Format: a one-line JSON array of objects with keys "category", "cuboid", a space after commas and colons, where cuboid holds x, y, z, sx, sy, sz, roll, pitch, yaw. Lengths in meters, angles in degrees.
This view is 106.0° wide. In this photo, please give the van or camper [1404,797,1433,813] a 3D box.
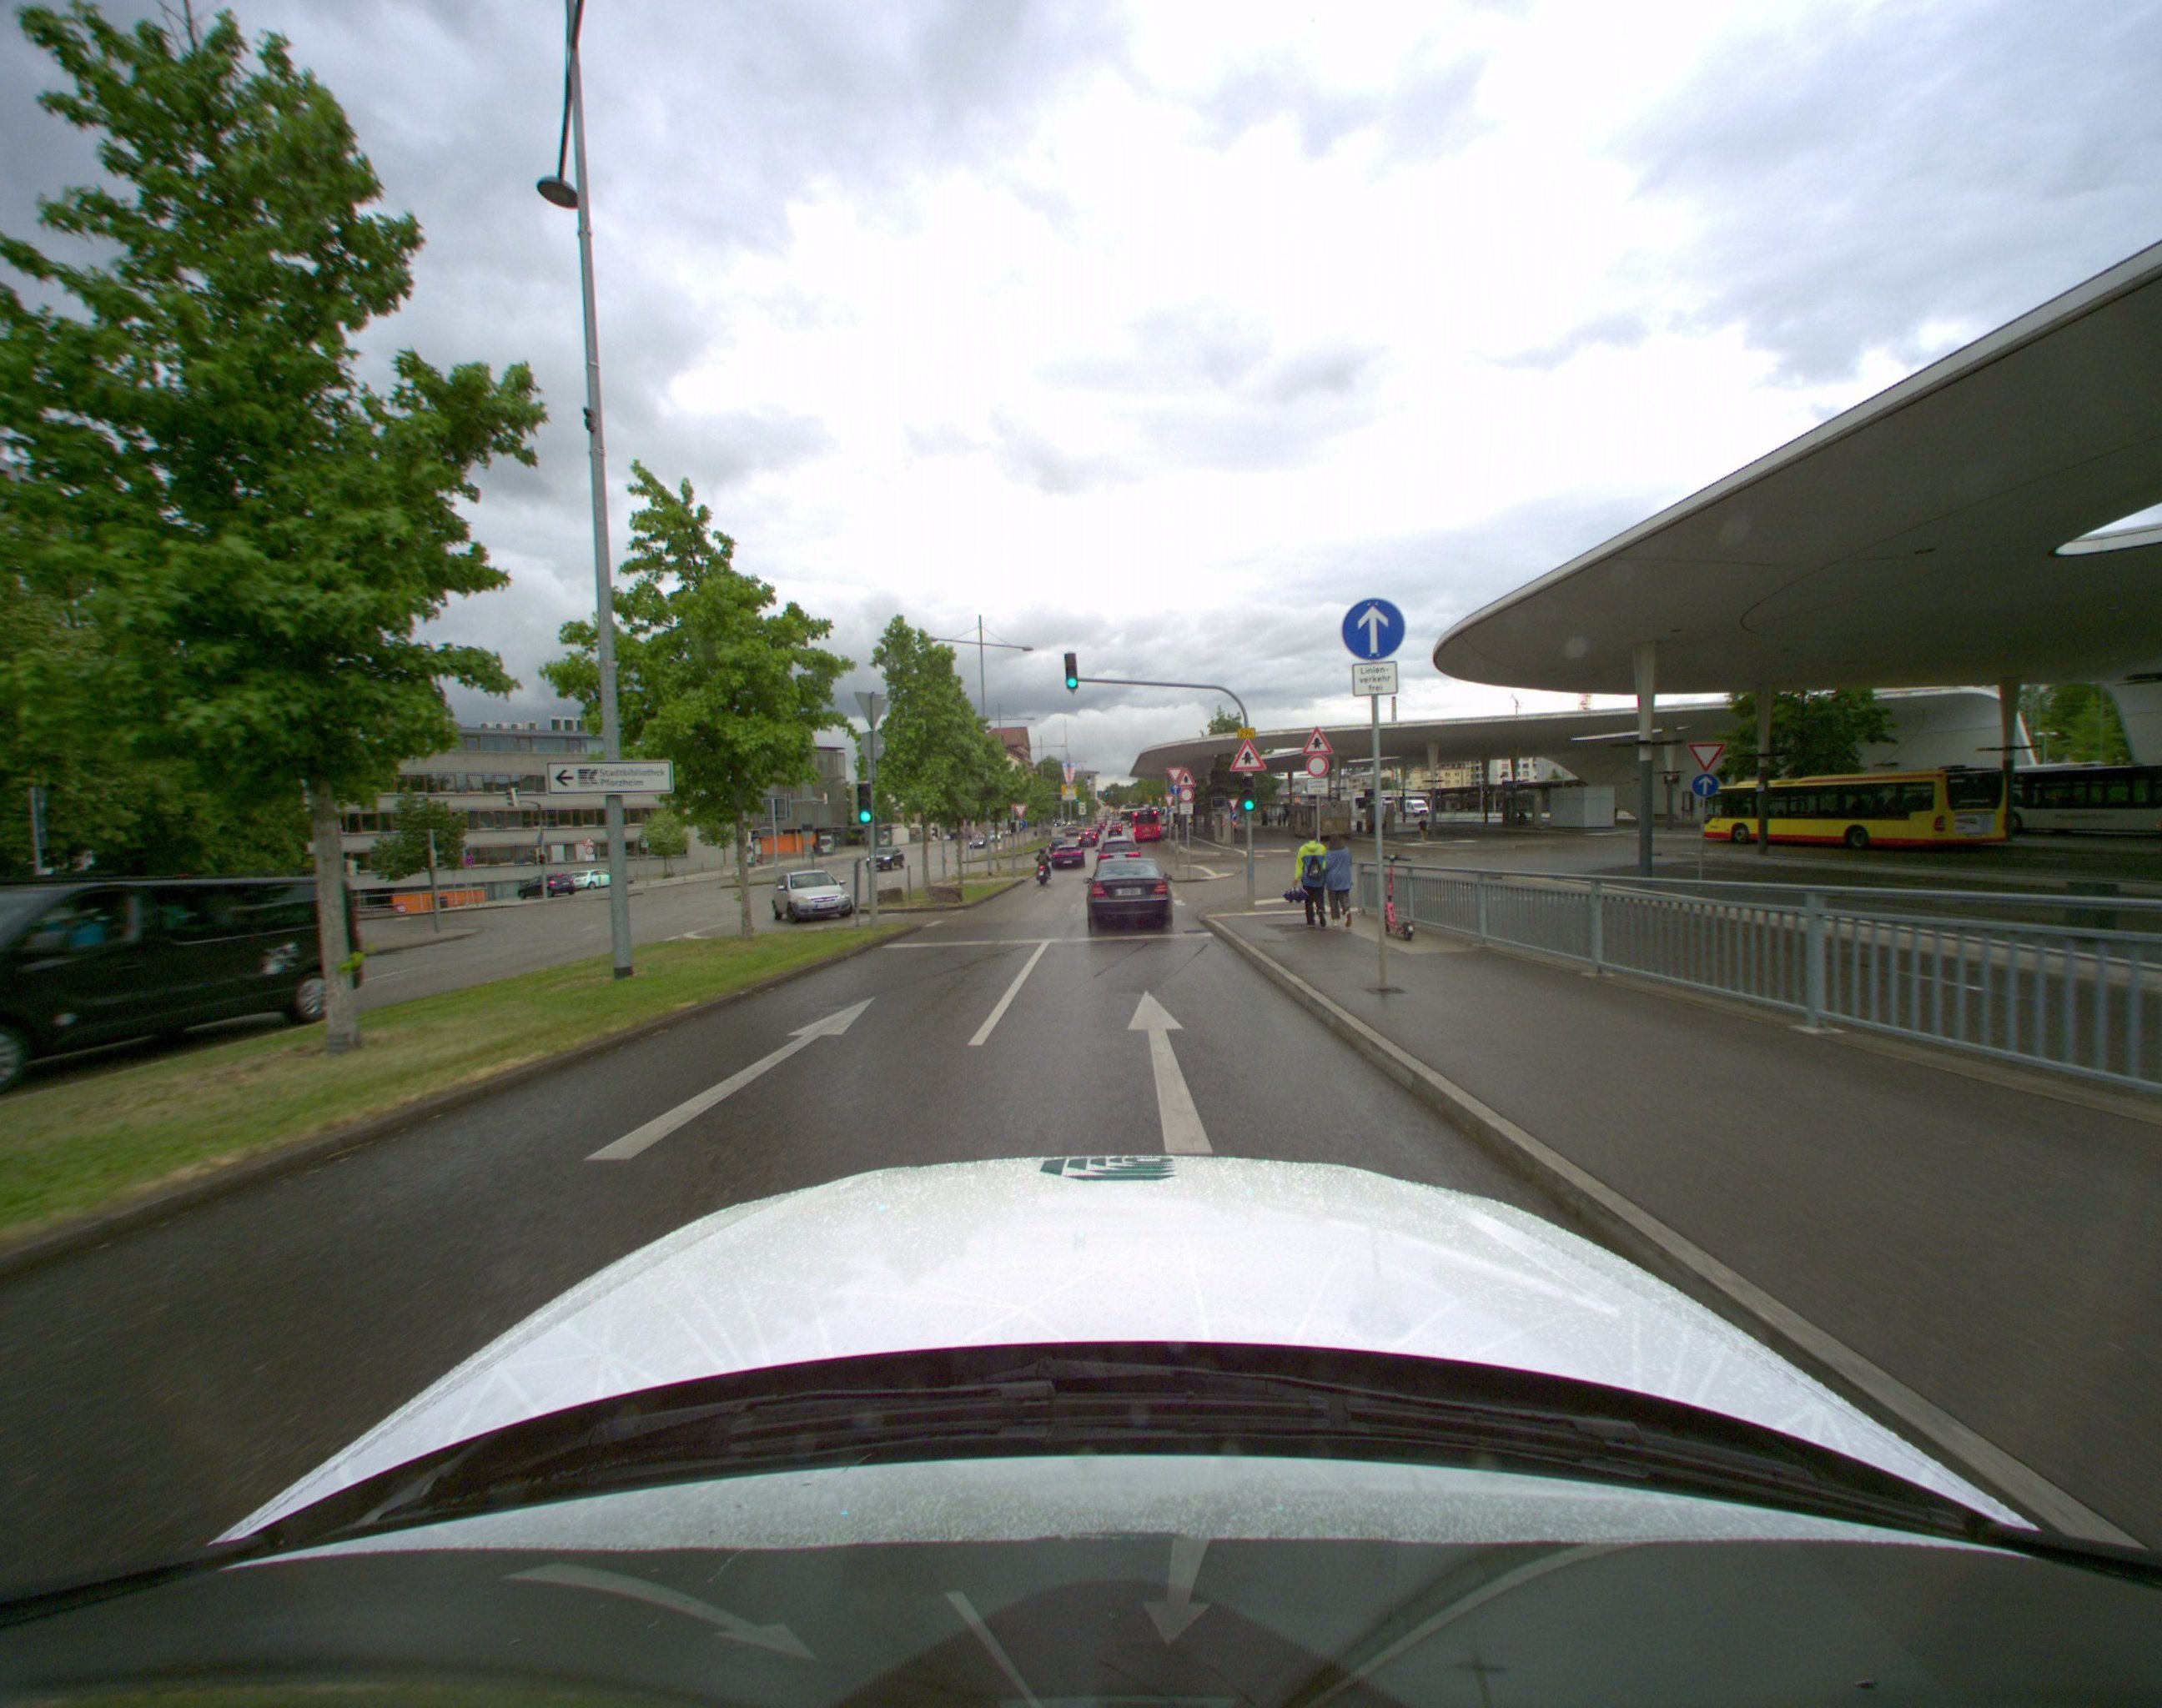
[{"category": "van or camper", "cuboid": [46.954, -6.791, 113.328, 1.986, 2.102, 5.483, 0, 1, 2]}]

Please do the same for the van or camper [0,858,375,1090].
[{"category": "van or camper", "cuboid": [-11.013, 1.180, 8.923, 2.214, 2.072, 5.272, -4, 0, -6]}]

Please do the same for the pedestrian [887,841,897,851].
[{"category": "pedestrian", "cuboid": [-25.829, -1.134, 111.226, 0.967, 1.267, 0.854, 2, 4, 23]}]

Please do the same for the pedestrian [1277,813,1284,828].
[{"category": "pedestrian", "cuboid": [22.839, -3.790, 93.305, 0.559, 1.691, 0.613, -3, 3, -5]}]

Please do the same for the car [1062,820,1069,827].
[{"category": "car", "cuboid": [-3.771, -7.436, 198.148, 1.569, 1.566, 3.433, -5, 3, 2]}]

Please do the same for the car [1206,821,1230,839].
[{"category": "car", "cuboid": [12.376, -2.224, 73.762, 1.641, 1.452, 3.239, -3, 3, 1]}]

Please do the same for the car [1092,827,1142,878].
[{"category": "car", "cuboid": [1.630, -0.152, 36.915, 1.950, 1.875, 4.878, -5, 3, 2]}]

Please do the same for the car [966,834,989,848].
[{"category": "car", "cuboid": [-12.726, -1.667, 100.335, 1.839, 1.504, 4.925, -3, 2, 3]}]

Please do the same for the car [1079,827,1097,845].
[{"category": "car", "cuboid": [0.716, -1.793, 81.317, 1.569, 1.504, 3.875, -5, 3, 3]}]

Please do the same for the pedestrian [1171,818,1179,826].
[{"category": "pedestrian", "cuboid": [12.086, -4.155, 104.836, 0.906, 0.985, 0.636, -2, -1, 16]}]

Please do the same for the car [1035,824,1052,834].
[{"category": "car", "cuboid": [-6.101, -4.048, 131.805, 1.733, 1.560, 3.743, -3, 1, -20]}]

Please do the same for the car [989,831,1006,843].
[{"category": "car", "cuboid": [-12.296, -2.525, 119.758, 1.840, 1.652, 4.423, -3, 2, 2]}]

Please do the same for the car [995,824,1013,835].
[{"category": "car", "cuboid": [-13.500, -4.292, 142.864, 1.654, 1.804, 3.601, 1, -1, -34]}]

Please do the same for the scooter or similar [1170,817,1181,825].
[{"category": "scooter or similar", "cuboid": [12.254, -4.228, 105.131, 1.233, 1.012, 0.767, -2, 2, 16]}]

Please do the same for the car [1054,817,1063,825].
[{"category": "car", "cuboid": [-5.257, -7.762, 192.565, 1.773, 1.566, 3.433, -5, 3, 2]}]

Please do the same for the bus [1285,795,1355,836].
[{"category": "bus", "cuboid": [20.056, -3.285, 69.324, 2.711, 3.043, 12.099, -4, 3, 2]}]

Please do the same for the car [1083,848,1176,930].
[{"category": "car", "cuboid": [0.984, 0.643, 17.373, 1.691, 1.462, 4.306, -2, 1, 2]}]

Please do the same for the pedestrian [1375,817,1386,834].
[{"category": "pedestrian", "cuboid": [24.441, -2.329, 66.501, 0.786, 1.377, 0.637, -3, 3, 19]}]

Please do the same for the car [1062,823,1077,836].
[{"category": "car", "cuboid": [-1.686, -3.534, 117.047, 1.864, 1.684, 3.991, 0, 0, -7]}]

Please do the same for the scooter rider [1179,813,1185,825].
[{"category": "scooter rider", "cuboid": [13.037, -4.476, 104.903, 0.587, 1.489, 0.768, -3, 2, 16]}]

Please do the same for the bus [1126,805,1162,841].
[{"category": "bus", "cuboid": [6.476, -3.359, 84.764, 3.272, 3.291, 10.890, -4, 3, 3]}]

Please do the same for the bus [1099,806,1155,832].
[{"category": "bus", "cuboid": [8.031, -6.101, 143.548, 2.861, 3.986, 11.731, -5, 3, -37]}]

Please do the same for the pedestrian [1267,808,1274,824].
[{"category": "pedestrian", "cuboid": [23.632, -4.725, 101.481, 0.716, 2.014, 0.674, 0, -1, 28]}]

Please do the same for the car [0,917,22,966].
[{"category": "car", "cuboid": [-38.372, 3.143, 26.897, 1.706, 1.567, 3.862, -1, 3, 44]}]

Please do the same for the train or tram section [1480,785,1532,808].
[{"category": "train or tram section", "cuboid": [73.690, -9.932, 141.620, 3.120, 3.658, 11.624, 1, 3, 2]}]

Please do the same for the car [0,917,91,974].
[{"category": "car", "cuboid": [-34.438, 3.003, 25.563, 1.706, 1.508, 4.081, -1, 3, 43]}]

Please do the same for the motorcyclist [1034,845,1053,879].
[{"category": "motorcyclist", "cuboid": [-1.603, 0.330, 34.705, 0.638, 1.347, 0.690, -4, 3, 5]}]

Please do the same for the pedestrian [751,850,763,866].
[{"category": "pedestrian", "cuboid": [-28.777, 0.371, 72.377, 0.676, 1.392, 0.721, -3, 2, 0]}]

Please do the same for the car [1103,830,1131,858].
[{"category": "car", "cuboid": [2.413, -0.685, 54.932, 1.734, 1.566, 3.874, -5, 3, 2]}]

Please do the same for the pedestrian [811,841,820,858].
[{"category": "pedestrian", "cuboid": [-27.725, -0.495, 84.967, 0.471, 1.683, 0.765, -3, 3, 9]}]

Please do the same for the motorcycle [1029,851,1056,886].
[{"category": "motorcycle", "cuboid": [-1.616, 0.592, 34.566, 0.789, 1.261, 1.859, -4, 3, 6]}]

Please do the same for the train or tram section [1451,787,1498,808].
[{"category": "train or tram section", "cuboid": [74.056, -10.592, 153.579, 3.120, 3.658, 12.332, 1, 3, 2]}]

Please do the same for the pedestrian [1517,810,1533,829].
[{"category": "pedestrian", "cuboid": [37.185, -2.899, 68.238, 0.793, 1.586, 0.907, -1, 2, -4]}]

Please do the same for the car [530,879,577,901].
[{"category": "car", "cuboid": [-35.902, 2.433, 55.395, 3.536, 1.350, 1.493, -1, 2, 36]}]

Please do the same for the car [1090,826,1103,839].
[{"category": "car", "cuboid": [2.207, -3.065, 117.104, 1.858, 1.684, 4.002, 0, 0, 2]}]

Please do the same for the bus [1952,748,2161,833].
[{"category": "bus", "cuboid": [43.244, -2.656, 33.482, 2.456, 3.256, 11.982, -4, 3, 2]}]

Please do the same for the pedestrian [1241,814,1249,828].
[{"category": "pedestrian", "cuboid": [18.352, -3.688, 91.204, 0.597, 1.581, 0.710, -4, 1, -7]}]

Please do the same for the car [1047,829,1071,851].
[{"category": "car", "cuboid": [-1.929, -1.254, 72.117, 1.669, 1.623, 3.874, -5, 3, 2]}]

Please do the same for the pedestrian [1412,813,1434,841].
[{"category": "pedestrian", "cuboid": [22.121, -1.738, 52.737, 0.721, 1.683, 1.013, -6, 3, -23]}]

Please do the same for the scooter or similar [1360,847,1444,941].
[{"category": "scooter or similar", "cuboid": [4.568, 0.543, 11.721, 0.462, 1.221, 1.860, -3, -1, 2]}]

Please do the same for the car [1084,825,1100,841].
[{"category": "car", "cuboid": [1.252, -2.342, 90.772, 1.569, 1.566, 3.874, -5, 3, 2]}]

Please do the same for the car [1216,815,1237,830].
[{"category": "car", "cuboid": [16.785, -3.689, 94.228, 1.705, 1.661, 4.242, -2, 3, 1]}]

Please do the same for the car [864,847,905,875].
[{"category": "car", "cuboid": [-14.714, 0.519, 61.102, 1.903, 1.661, 4.857, -3, 4, -1]}]

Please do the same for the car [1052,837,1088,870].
[{"category": "car", "cuboid": [-0.601, -0.069, 49.005, 1.809, 1.570, 4.408, -5, 3, 2]}]

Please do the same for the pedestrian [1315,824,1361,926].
[{"category": "pedestrian", "cuboid": [4.312, 0.346, 13.671, 0.587, 1.670, 0.580, 0, -2, 1]}]

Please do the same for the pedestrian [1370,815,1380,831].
[{"category": "pedestrian", "cuboid": [24.708, -2.608, 68.467, 0.786, 1.226, 0.637, -3, 3, 19]}]

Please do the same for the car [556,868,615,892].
[{"category": "car", "cuboid": [-38.296, 2.007, 63.009, 1.615, 1.495, 3.600, -3, 3, 17]}]

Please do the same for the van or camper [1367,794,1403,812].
[{"category": "van or camper", "cuboid": [44.897, -7.521, 120.241, 4.591, 2.557, 2.119, 0, 1, 1]}]

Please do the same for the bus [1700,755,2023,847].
[{"category": "bus", "cuboid": [33.400, -2.218, 36.093, 2.779, 3.256, 12.145, -3, 2, 1]}]

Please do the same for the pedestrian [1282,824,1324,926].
[{"category": "pedestrian", "cuboid": [3.737, 0.353, 13.731, 0.520, 1.670, 0.581, -2, 0, 1]}]

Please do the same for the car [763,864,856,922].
[{"category": "car", "cuboid": [-8.033, 1.104, 23.896, 1.643, 1.448, 3.837, -5, 1, -32]}]

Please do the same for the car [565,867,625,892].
[{"category": "car", "cuboid": [-36.867, 1.936, 61.851, 1.615, 1.495, 3.600, -3, 3, 17]}]

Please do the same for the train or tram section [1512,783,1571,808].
[{"category": "train or tram section", "cuboid": [73.367, -9.259, 130.083, 3.120, 3.680, 11.624, 1, 3, 2]}]

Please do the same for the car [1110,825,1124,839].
[{"category": "car", "cuboid": [4.487, -2.765, 102.415, 1.569, 1.566, 3.874, -5, 3, 2]}]

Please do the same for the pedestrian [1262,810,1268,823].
[{"category": "pedestrian", "cuboid": [23.685, -4.859, 104.861, 0.573, 1.578, 0.565, 0, -1, 32]}]

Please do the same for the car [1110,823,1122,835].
[{"category": "car", "cuboid": [5.395, -3.888, 126.861, 1.858, 1.684, 4.002, 0, 0, 2]}]
